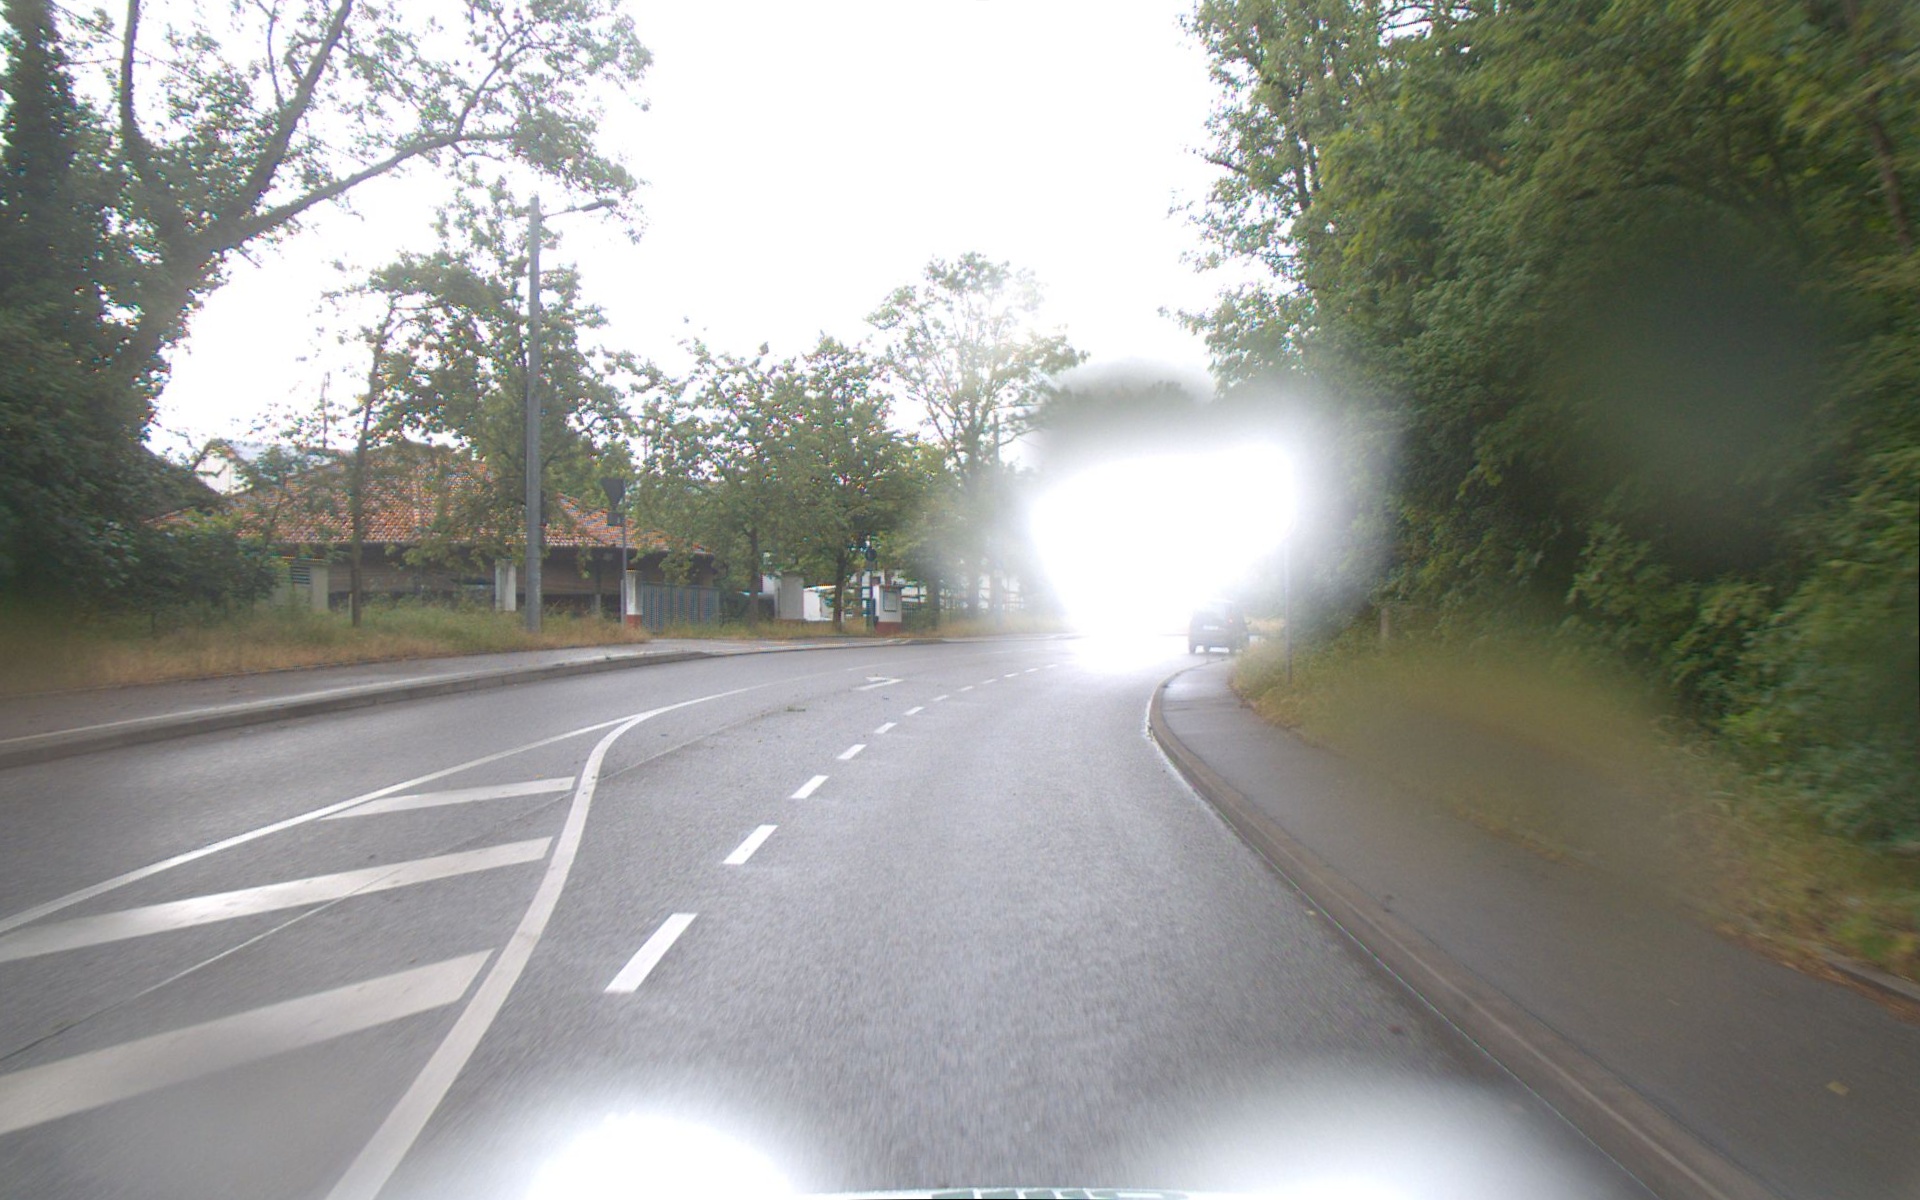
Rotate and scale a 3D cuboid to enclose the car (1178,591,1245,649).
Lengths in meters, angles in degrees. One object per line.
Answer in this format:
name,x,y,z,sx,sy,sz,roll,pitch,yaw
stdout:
car,8.827,0.710,57.741,1.788,1.825,4.003,-4,-2,14
